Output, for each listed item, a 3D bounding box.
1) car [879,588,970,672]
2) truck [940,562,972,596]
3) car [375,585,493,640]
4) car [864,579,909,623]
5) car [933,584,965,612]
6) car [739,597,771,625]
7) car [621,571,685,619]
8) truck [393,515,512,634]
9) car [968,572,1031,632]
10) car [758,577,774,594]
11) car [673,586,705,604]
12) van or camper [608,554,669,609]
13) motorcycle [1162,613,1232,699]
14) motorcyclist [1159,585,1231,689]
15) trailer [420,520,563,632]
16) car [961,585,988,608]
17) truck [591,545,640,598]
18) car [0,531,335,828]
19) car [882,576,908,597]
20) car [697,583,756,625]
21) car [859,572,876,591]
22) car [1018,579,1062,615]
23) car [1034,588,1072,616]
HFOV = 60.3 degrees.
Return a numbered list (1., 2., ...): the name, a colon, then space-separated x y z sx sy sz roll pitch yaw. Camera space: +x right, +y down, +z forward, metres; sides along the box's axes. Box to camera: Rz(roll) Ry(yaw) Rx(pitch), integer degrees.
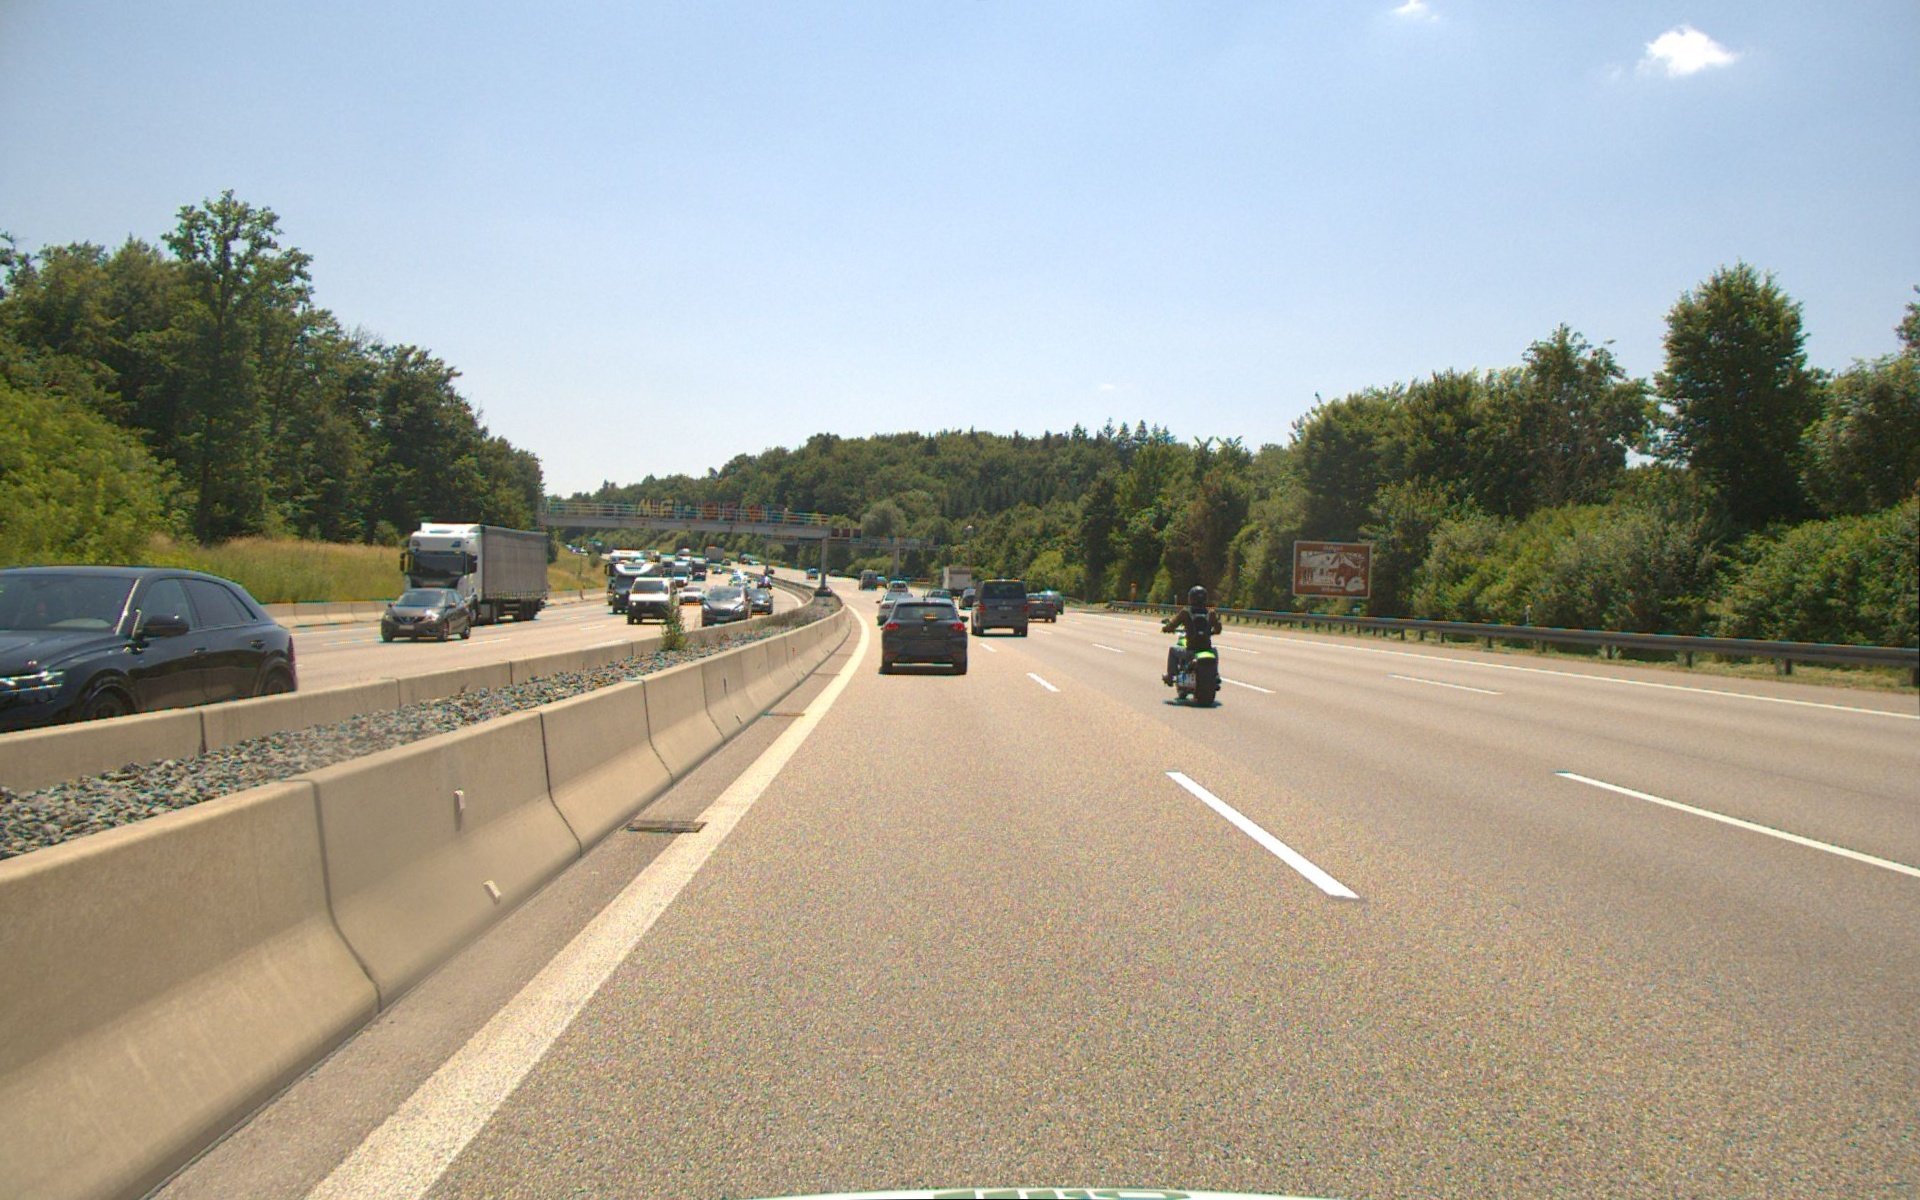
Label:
1. car: -0.712 0.556 33.087 1.673 1.458 4.000 1 2 -1
2. truck: -0.419 -2.163 168.738 2.925 3.221 7.572 1 2 -2
3. car: -15.354 0.345 48.532 1.953 1.522 4.797 0 0 0
4. car: -3.311 0.070 74.266 1.972 1.878 3.997 0 -1 -3
5. car: -0.731 -0.096 105.921 1.906 1.742 3.998 1 0 -2
6. car: -11.819 0.620 95.659 1.641 1.523 4.946 1 0 -5
7. car: -13.541 -0.208 73.154 1.962 2.049 5.183 0 0 -1
8. truck: -20.173 -0.956 66.161 2.982 4.448 6.451 1 -1 -3
9. car: 1.414 0.095 60.640 1.923 2.069 5.080 1 -1 -3
10. car: -25.444 -1.920 216.725 1.956 2.049 3.993 1 -2 -8
11. car: -20.178 -0.342 123.414 1.954 1.243 3.996 1 0 -4
12. van or camper: -18.398 -1.046 94.932 2.508 2.982 7.344 0 0 -4
13. motorcycle: 3.407 0.784 23.947 0.525 1.155 2.435 0 0 -3
14. motorcyclist: 3.377 0.521 23.823 0.836 1.452 1.022 0 0 -4
15. trailer: -20.590 -0.935 73.791 2.971 4.437 14.266 1 0 -3
16. car: 1.028 -0.293 118.489 1.632 1.433 4.902 1 2 -2
17. truck: -24.917 -2.009 119.866 2.651 3.605 6.614 1 0 -5
18. car: -6.686 0.490 12.833 1.790 1.861 4.984 0 0 0
19. car: -6.033 -1.229 153.212 2.062 1.774 4.683 1 2 -6
20. car: -9.641 0.159 68.614 1.834 1.662 5.162 0 0 -1
21. car: -12.401 -2.472 220.950 2.220 2.412 4.700 0 1 -3
22. car: 4.039 -0.174 83.712 1.812 1.758 3.998 0 0 -3
23. car: 5.912 0.109 105.489 1.954 1.758 3.997 0 0 -4
